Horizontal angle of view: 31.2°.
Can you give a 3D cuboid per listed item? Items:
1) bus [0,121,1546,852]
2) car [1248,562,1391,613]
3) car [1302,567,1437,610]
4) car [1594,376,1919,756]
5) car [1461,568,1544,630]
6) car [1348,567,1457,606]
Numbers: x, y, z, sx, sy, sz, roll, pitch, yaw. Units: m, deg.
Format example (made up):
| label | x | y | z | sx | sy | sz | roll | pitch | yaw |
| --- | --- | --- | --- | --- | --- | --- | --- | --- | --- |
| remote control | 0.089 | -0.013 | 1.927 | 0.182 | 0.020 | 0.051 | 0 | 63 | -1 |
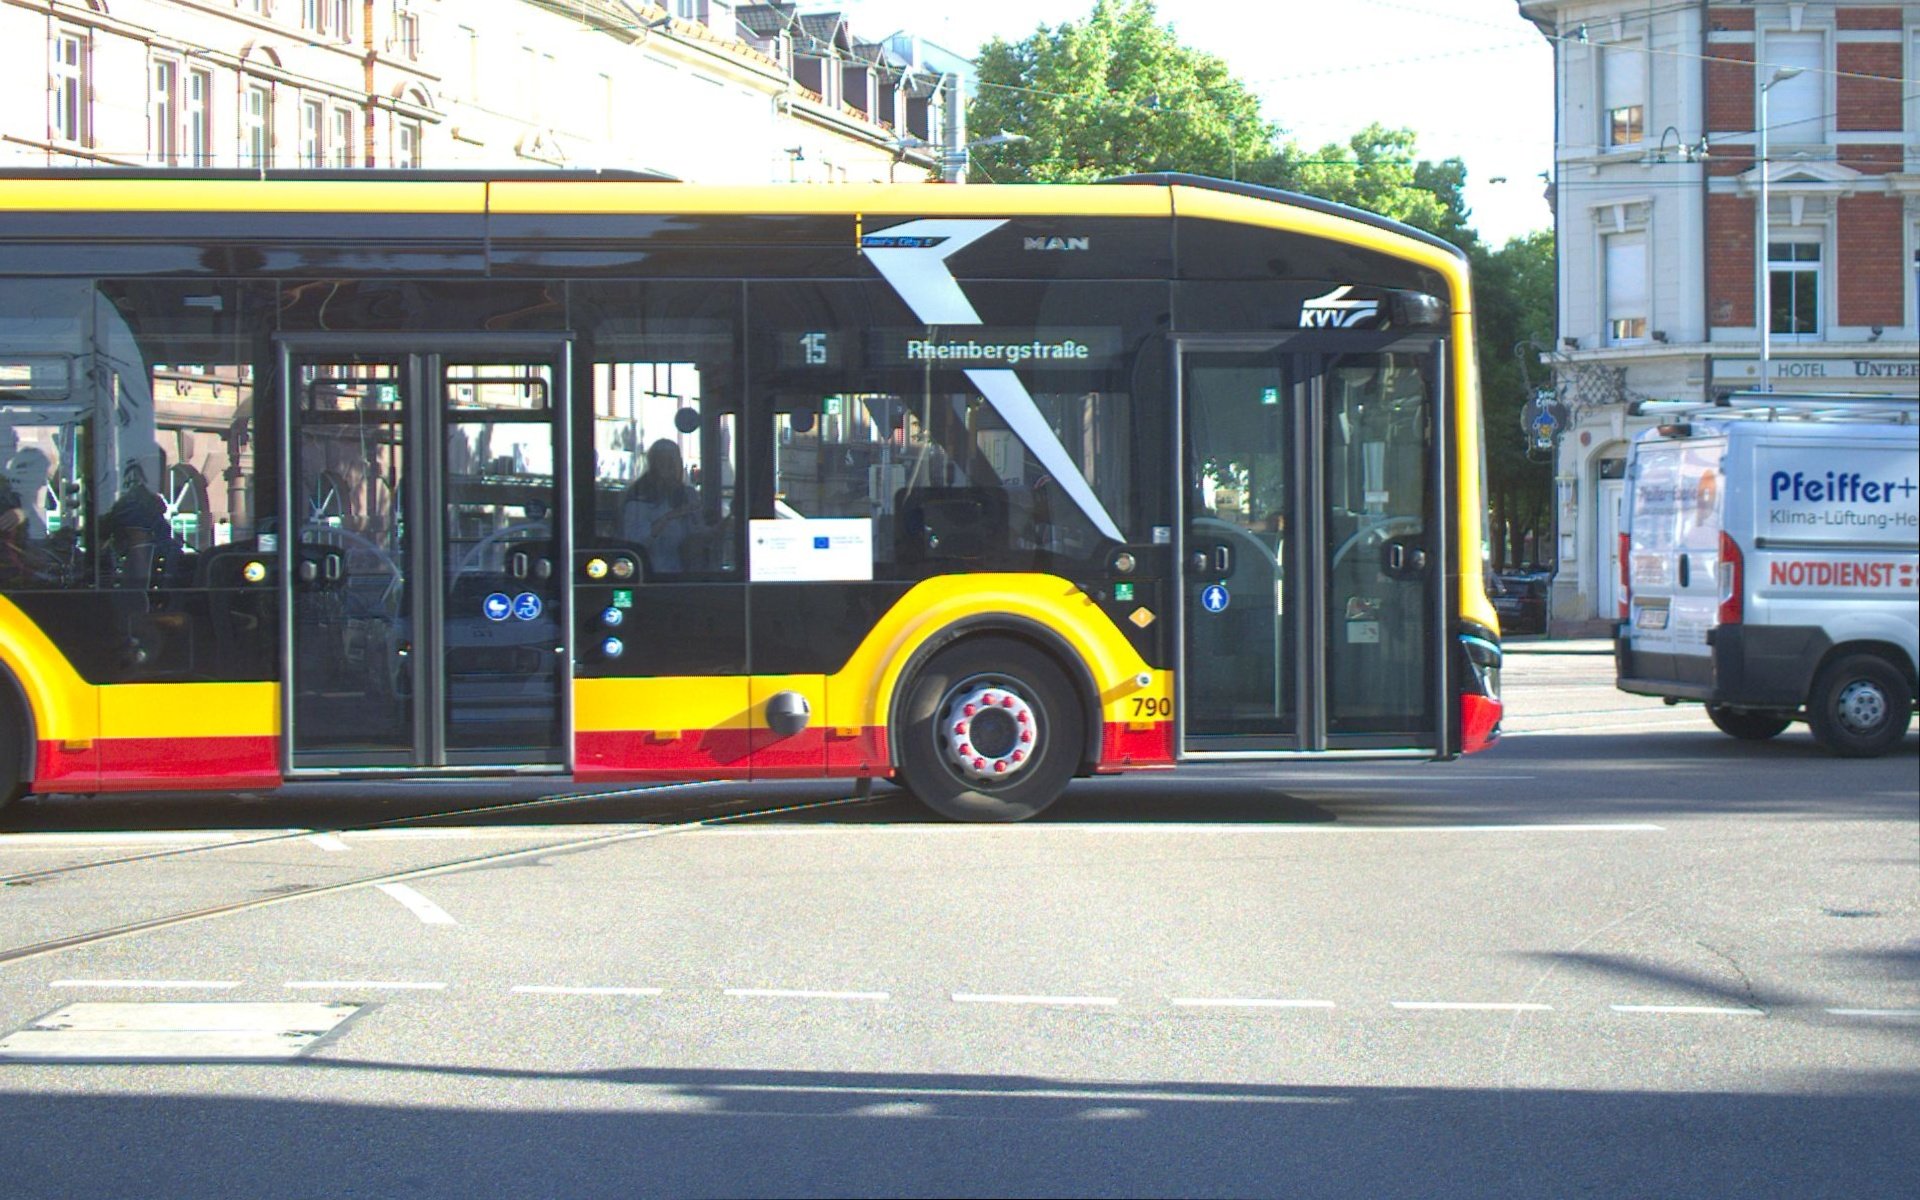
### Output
| label | x | y | z | sx | sy | sz | roll | pitch | yaw |
| --- | --- | --- | --- | --- | --- | --- | --- | --- | --- |
| bus | -1.933 | -0.554 | 18.072 | 9.409 | 3.445 | 2.781 | 1 | 2 | -8 |
| car | 10.443 | -0.373 | 99.700 | 3.989 | 1.450 | 1.681 | 0 | 1 | 11 |
| car | 12.573 | -0.360 | 105.409 | 3.989 | 1.284 | 1.694 | 0 | 1 | 11 |
| car | 7.108 | -0.226 | 23.342 | 5.110 | 2.424 | 2.081 | 0 | 1 | -8 |
| car | 13.044 | -0.034 | 82.545 | 1.756 | 1.415 | 3.998 | 0 | 1 | 12 |
| car | 14.358 | -0.442 | 111.482 | 3.435 | 1.235 | 1.576 | 0 | 1 | 11 |
